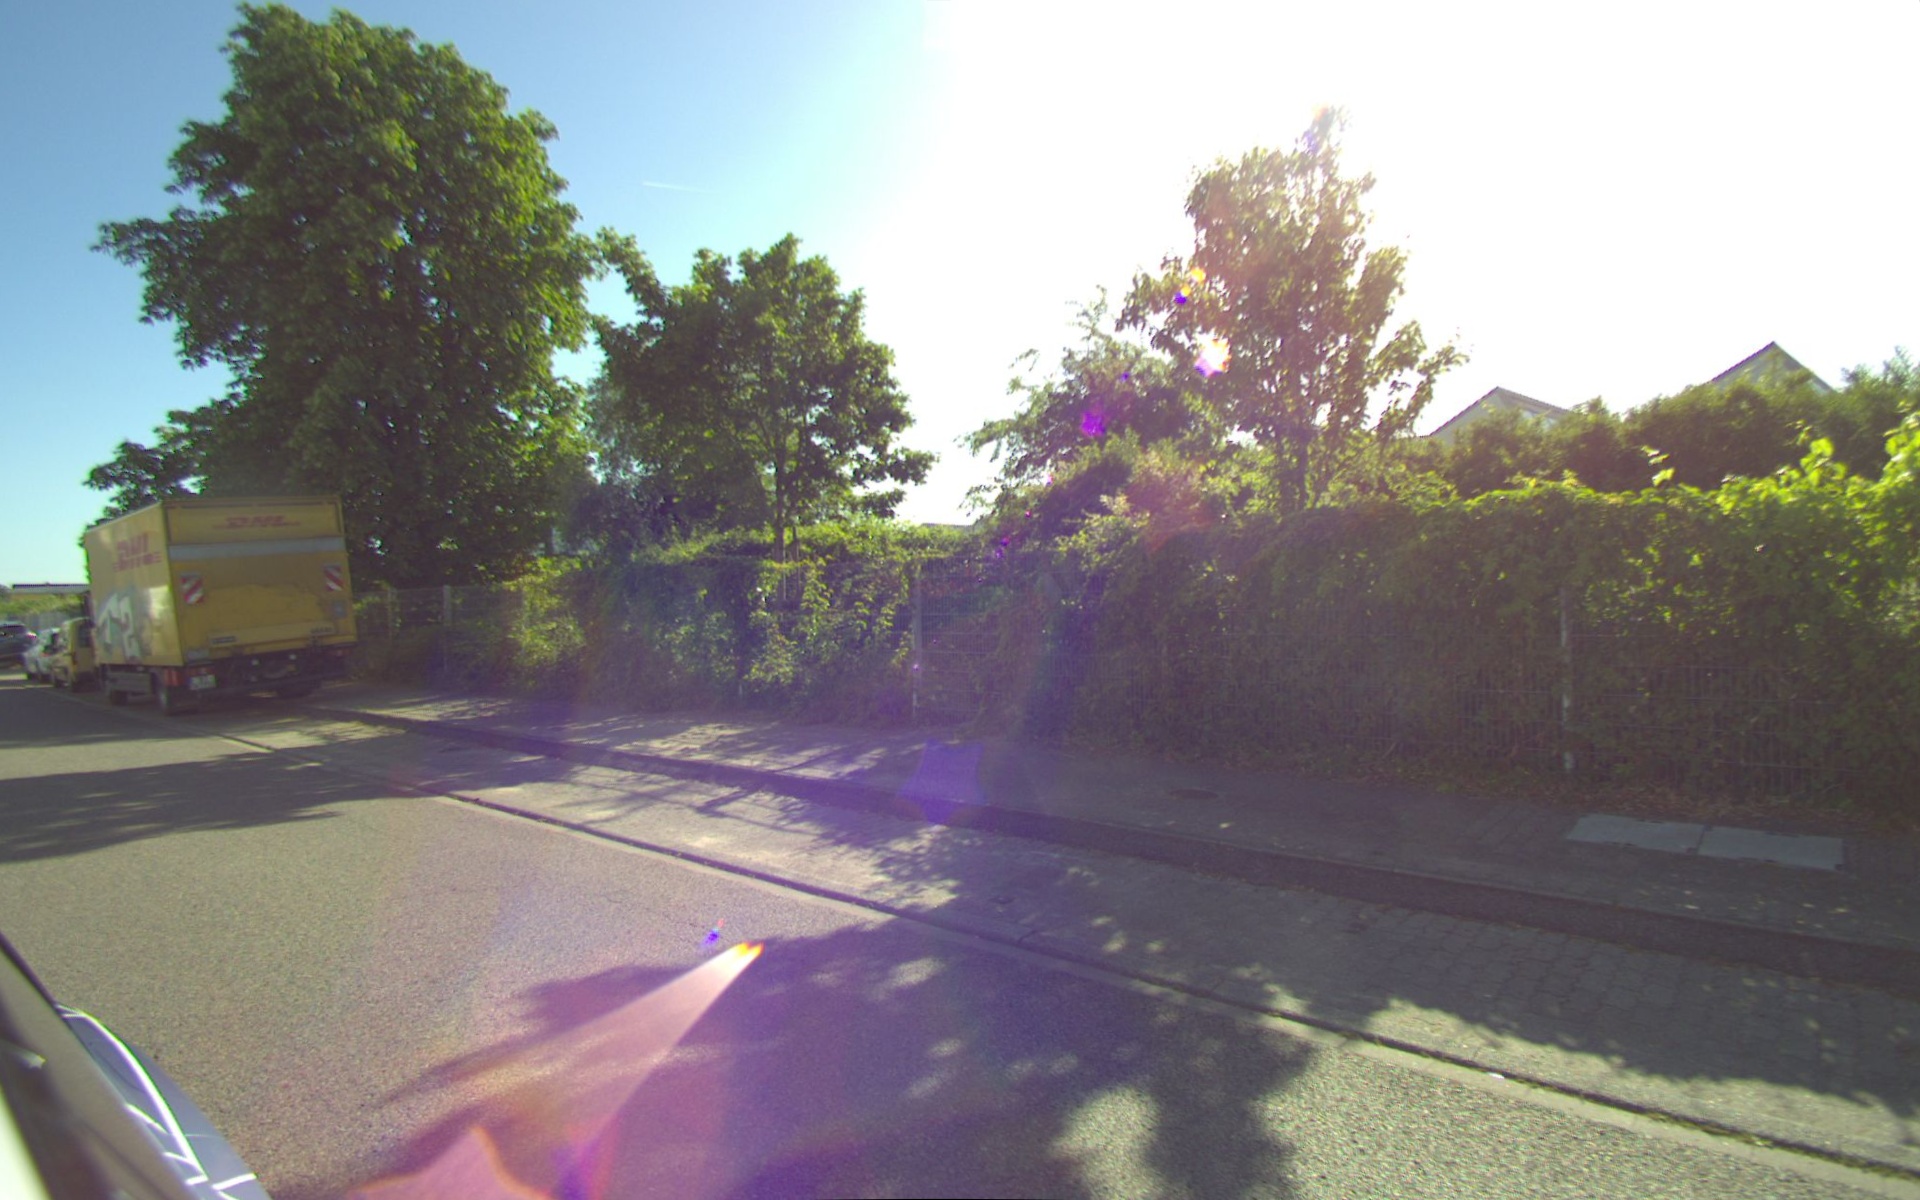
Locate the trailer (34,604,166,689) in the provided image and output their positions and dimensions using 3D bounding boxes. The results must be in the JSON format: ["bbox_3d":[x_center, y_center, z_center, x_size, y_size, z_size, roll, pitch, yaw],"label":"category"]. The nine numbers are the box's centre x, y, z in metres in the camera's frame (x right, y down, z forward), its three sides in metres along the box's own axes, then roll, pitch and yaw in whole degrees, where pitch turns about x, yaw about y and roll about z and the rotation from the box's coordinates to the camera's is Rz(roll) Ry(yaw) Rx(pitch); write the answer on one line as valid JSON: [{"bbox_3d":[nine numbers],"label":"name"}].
[{"bbox_3d":[-21.897,1.124,25.717,4.413,1.956,1.973,-1,-1,41],"label":"trailer"}]

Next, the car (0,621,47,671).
[{"bbox_3d":[-36.425,1.767,38.393,4.458,1.674,1.890,-2,4,39],"label":"car"}]

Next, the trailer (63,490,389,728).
[{"bbox_3d":[-13.699,0.191,18.554,8.155,3.469,2.961,-1,-1,40],"label":"trailer"}]

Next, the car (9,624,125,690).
[{"bbox_3d":[-26.268,1.600,29.705,5.024,1.604,1.888,-1,4,42],"label":"car"}]
